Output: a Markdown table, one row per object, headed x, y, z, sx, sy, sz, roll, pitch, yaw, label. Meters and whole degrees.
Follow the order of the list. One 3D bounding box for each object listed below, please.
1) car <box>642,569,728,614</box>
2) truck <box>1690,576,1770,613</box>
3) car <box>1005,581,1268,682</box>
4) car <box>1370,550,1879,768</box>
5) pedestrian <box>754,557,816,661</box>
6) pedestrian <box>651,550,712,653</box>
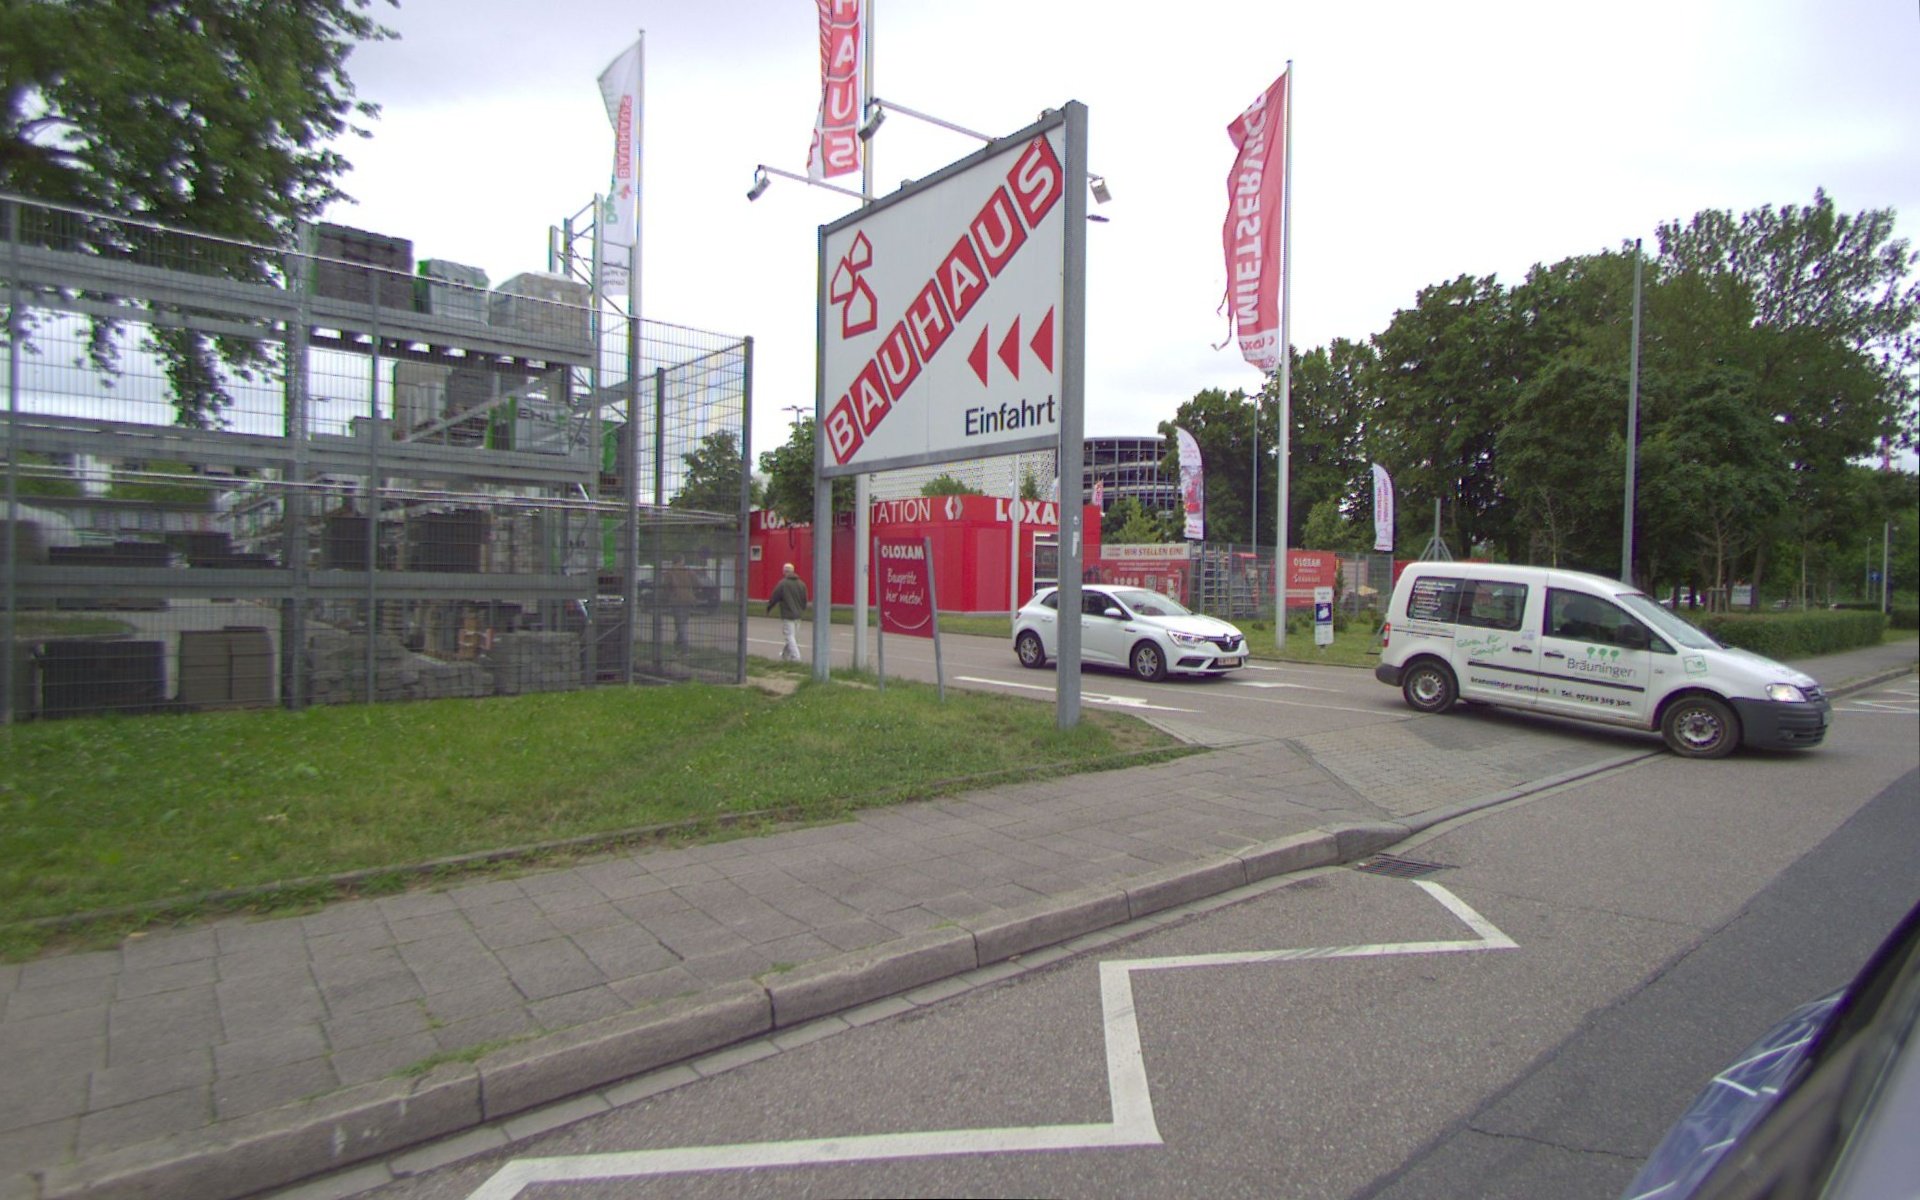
| x | y | z | sx | sy | sz | roll | pitch | yaw | label |
| --- | --- | --- | --- | --- | --- | --- | --- | --- | --- |
| -9.910 | -0.343 | 36.357 | 1.692 | 1.480 | 3.569 | -1 | 3 | -39 | car |
| 53.020 | -0.398 | 69.742 | 3.924 | 2.426 | 2.000 | 1 | 1 | 0 | truck |
| 2.762 | 0.415 | 16.558 | 1.700 | 1.438 | 4.110 | 0 | 1 | -40 | car |
| 7.152 | 0.449 | 11.321 | 1.769 | 1.829 | 4.379 | 0 | 4 | -40 | car |
| -3.062 | 0.140 | 17.658 | 0.727 | 1.765 | 0.870 | 0 | 1 | -37 | pedestrian |
| -4.660 | 0.012 | 16.937 | 0.686 | 1.669 | 0.825 | 0 | 1 | -40 | pedestrian |
